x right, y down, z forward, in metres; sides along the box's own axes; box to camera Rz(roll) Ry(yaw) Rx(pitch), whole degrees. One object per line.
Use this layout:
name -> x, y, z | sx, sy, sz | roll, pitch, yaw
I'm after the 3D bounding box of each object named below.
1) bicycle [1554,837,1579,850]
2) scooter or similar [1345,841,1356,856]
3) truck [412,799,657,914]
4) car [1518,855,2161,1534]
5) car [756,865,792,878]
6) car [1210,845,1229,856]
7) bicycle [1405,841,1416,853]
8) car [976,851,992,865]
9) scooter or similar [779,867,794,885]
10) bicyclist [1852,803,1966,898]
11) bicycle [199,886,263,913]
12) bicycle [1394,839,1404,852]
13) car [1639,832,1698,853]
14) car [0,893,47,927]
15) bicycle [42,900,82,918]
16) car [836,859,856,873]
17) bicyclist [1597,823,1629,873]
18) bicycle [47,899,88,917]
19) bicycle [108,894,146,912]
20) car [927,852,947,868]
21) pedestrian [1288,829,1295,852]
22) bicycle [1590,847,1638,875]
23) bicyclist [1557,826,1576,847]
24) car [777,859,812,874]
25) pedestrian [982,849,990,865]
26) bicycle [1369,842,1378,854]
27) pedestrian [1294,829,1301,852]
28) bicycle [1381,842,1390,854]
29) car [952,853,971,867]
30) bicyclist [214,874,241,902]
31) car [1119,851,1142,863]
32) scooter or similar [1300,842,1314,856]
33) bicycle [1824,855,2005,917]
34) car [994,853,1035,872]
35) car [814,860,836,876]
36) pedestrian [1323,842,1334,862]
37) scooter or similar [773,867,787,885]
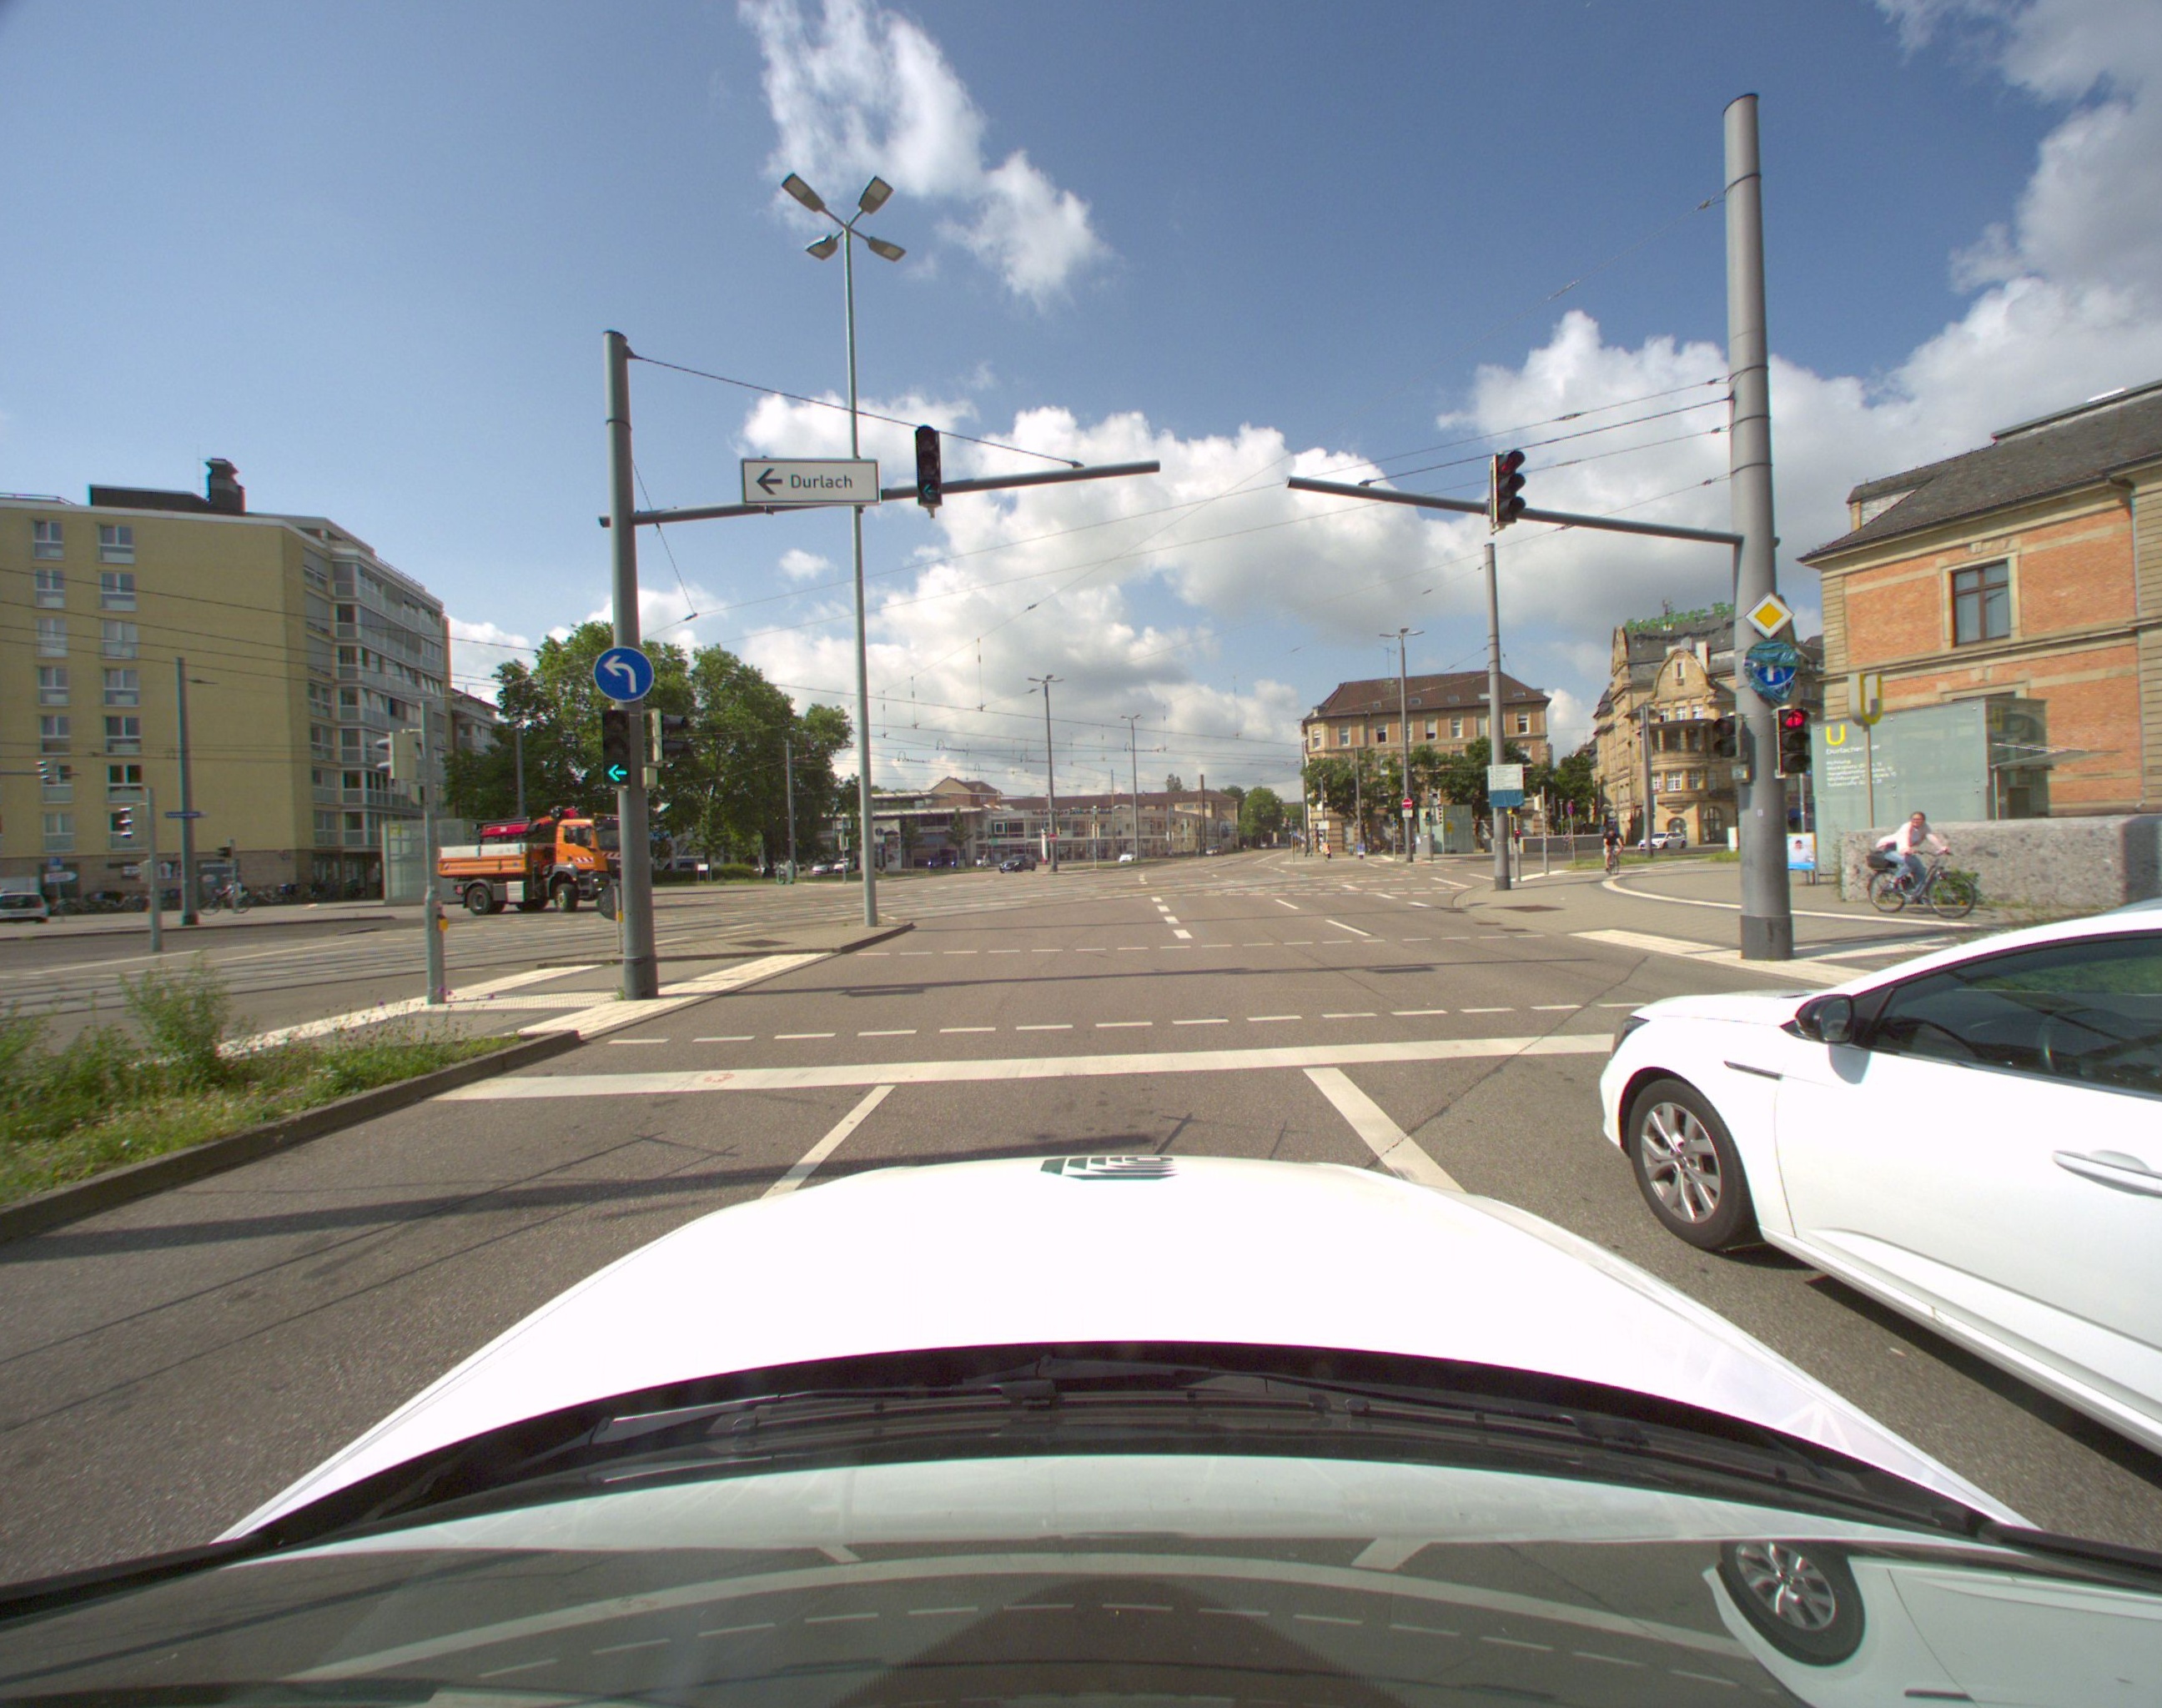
bicycle -> 39.918, -0.854, 66.961 | 1.781, 0.956, 0.840 | -3, -1, -22
scooter or similar -> 26.903, -0.545, 81.271 | 0.871, 1.482, 2.023 | -2, 0, 16
truck -> -20.358, 0.142, 30.460 | 7.990, 4.009, 2.847 | -1, -1, 12
car -> 3.149, 0.713, 1.930 | 1.751, 1.429, 4.674 | 0, -1, 0
car -> -36.748, 2.069, 97.679 | 3.657, 1.488, 1.673 | 0, 0, 1
car -> 20.339, -0.517, 119.433 | 1.976, 1.574, 3.756 | -2, 0, 21
bicycle -> 32.409, -0.720, 80.062 | 0.753, 1.165, 2.697 | -2, 0, 18
car -> -12.348, 0.540, 103.786 | 1.927, 1.683, 3.988 | 0, -1, -8
scooter or similar -> -19.950, 1.485, 55.179 | 1.051, 1.196, 0.384 | -1, -1, 27
bicyclist -> 13.433, -0.053, 13.247 | 0.631, 1.457, 1.170 | -2, 0, 1
bicycle -> -40.578, 2.154, 38.903 | 0.539, 1.106, 2.107 | -2, 0, 11
bicycle -> 31.358, -0.846, 80.406 | 0.752, 1.166, 2.697 | -1, -1, 18
car -> 46.742, -0.932, 64.753 | 4.515, 1.596, 1.940 | 0, -1, -27
car -> -49.904, 2.662, 37.975 | 3.451, 1.453, 1.790 | -4, -1, 34
bicycle -> -56.297, 3.052, 45.006 | 1.464, 0.922, 0.291 | -1, -1, -19
car -> -29.791, 1.533, 103.268 | 1.784, 1.682, 3.989 | -2, 0, -8
bicyclist -> 18.420, -0.201, 28.214 | 0.573, 1.672, 0.940 | -3, 0, 13
bicycle -> -56.390, 3.010, 45.311 | 1.464, 0.922, 0.291 | -2, -1, -19
bicycle -> -53.774, 2.763, 45.924 | 1.462, 0.922, 0.292 | 0, -1, -16
car -> -18.097, 0.785, 102.446 | 1.989, 1.838, 3.995 | -3, -1, -4
pedestrian -> 27.700, -1.766, 107.076 | 0.660, 3.121, 0.893 | -1, -1, 25
bicycle -> 18.433, 0.224, 28.209 | 0.753, 0.875, 1.816 | -5, 0, 14
bicyclist -> 39.870, -1.427, 66.924 | 1.144, 1.674, 0.614 | -2, -1, -7
car -> -38.631, 1.704, 109.851 | 3.967, 2.014, 2.003 | -1, -1, 5
pedestrian -> -11.686, 0.385, 100.407 | 0.868, 2.013, 0.702 | -2, 0, -8
bicycle -> 29.206, -0.638, 81.354 | 0.753, 1.165, 2.697 | -2, 0, 18
pedestrian -> 28.424, -1.776, 106.733 | 0.718, 3.076, 0.893 | -1, -1, 25
bicycle -> 30.247, -0.594, 80.922 | 0.753, 1.165, 2.697 | -1, 0, 18
car -> -14.938, 0.708, 101.910 | 1.990, 1.725, 3.993 | 0, -1, -5
bicyclist -> -40.598, 1.612, 38.728 | 0.391, 1.336, 0.786 | -1, -1, 9
car -> 5.881, 0.385, 97.341 | 1.671, 1.470, 3.675 | -1, -1, 21
scooter or similar -> 23.077, -0.519, 83.271 | 1.169, 1.386, 2.812 | -1, -1, 10
bicycle -> 13.446, 0.476, 13.262 | 0.648, 0.897, 2.276 | -2, 0, 2
car -> -5.381, 0.653, 66.372 | 1.849, 1.376, 3.960 | -2, 0, 20
car -> -32.324, 1.769, 102.828 | 1.992, 2.014, 3.989 | 1, -1, -8
pedestrian -> 18.671, -0.161, 61.458 | 0.733, 1.516, 0.548 | -2, 0, 24
scooter or similar -> -20.201, 1.493, 54.622 | 1.051, 1.196, 0.384 | -1, -1, 37
